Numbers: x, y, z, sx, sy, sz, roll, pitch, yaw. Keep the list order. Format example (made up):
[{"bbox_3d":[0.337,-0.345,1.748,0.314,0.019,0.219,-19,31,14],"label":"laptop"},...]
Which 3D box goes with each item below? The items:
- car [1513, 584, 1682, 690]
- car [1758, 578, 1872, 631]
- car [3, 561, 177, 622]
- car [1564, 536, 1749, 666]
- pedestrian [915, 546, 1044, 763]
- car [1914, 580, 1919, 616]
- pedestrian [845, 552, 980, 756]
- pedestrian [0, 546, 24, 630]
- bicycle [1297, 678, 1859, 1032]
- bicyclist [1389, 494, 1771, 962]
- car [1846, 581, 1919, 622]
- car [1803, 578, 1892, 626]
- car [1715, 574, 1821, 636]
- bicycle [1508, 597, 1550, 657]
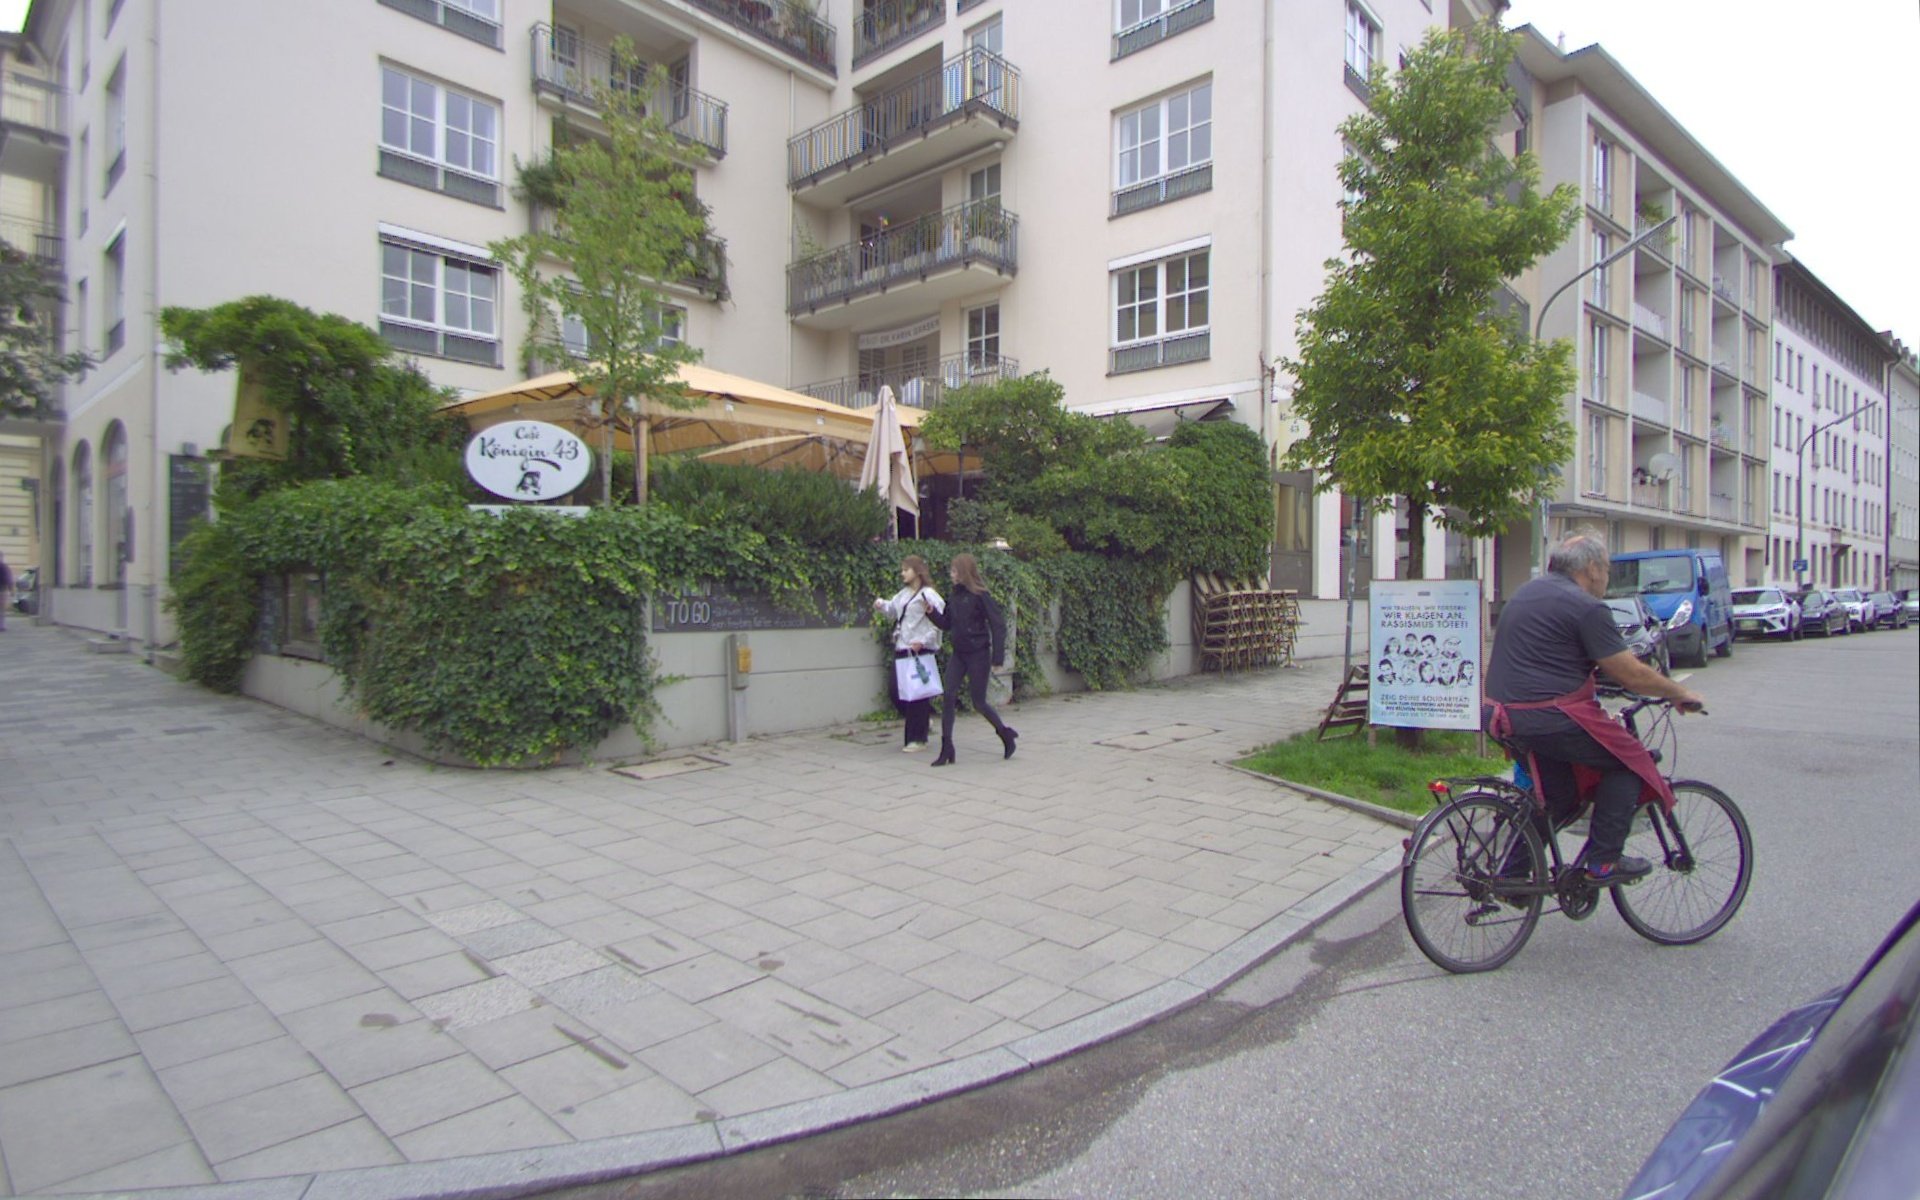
[{"bbox_3d":[9.916,0.512,15.624,1.711,1.412,3.944,-3,-2,39],"label":"car"},{"bbox_3d":[26.350,0.140,31.137,4.609,1.448,1.775,0,-4,-39],"label":"car"},{"bbox_3d":[-23.299,-0.234,27.168,1.571,1.549,3.427,1,1,43],"label":"car"},{"bbox_3d":[14.029,-0.033,20.260,2.108,2.242,4.950,-5,-2,44],"label":"car"},{"bbox_3d":[0.162,0.393,8.179,0.678,1.648,0.817,2,2,41],"label":"pedestrian"},{"bbox_3d":[42.884,-0.121,43.926,3.318,1.536,1.617,0,-3,-38],"label":"car"},{"bbox_3d":[-0.407,0.406,8.628,0.806,1.626,0.817,2,2,42],"label":"pedestrian"},{"bbox_3d":[-20.210,-0.261,21.232,0.829,1.735,0.776,1,0,43],"label":"pedestrian"},{"bbox_3d":[2.540,0.899,4.152,2.145,1.032,0.881,0,1,-23],"label":"bicycle"},{"bbox_3d":[2.488,0.440,4.124,1.027,1.629,0.880,1,0,-23],"label":"bicyclist"},{"bbox_3d":[34.322,0.070,37.242,4.410,1.399,1.831,0,-2,-39],"label":"car"},{"bbox_3d":[30.233,0.062,34.435,4.049,1.488,1.704,0,-3,-41],"label":"car"},{"bbox_3d":[22.398,0.154,27.992,1.775,1.543,4.234,-5,-4,44],"label":"car"},{"bbox_3d":[10.964,0.493,19.484,0.563,1.083,1.766,1,1,33],"label":"bicycle"}]
